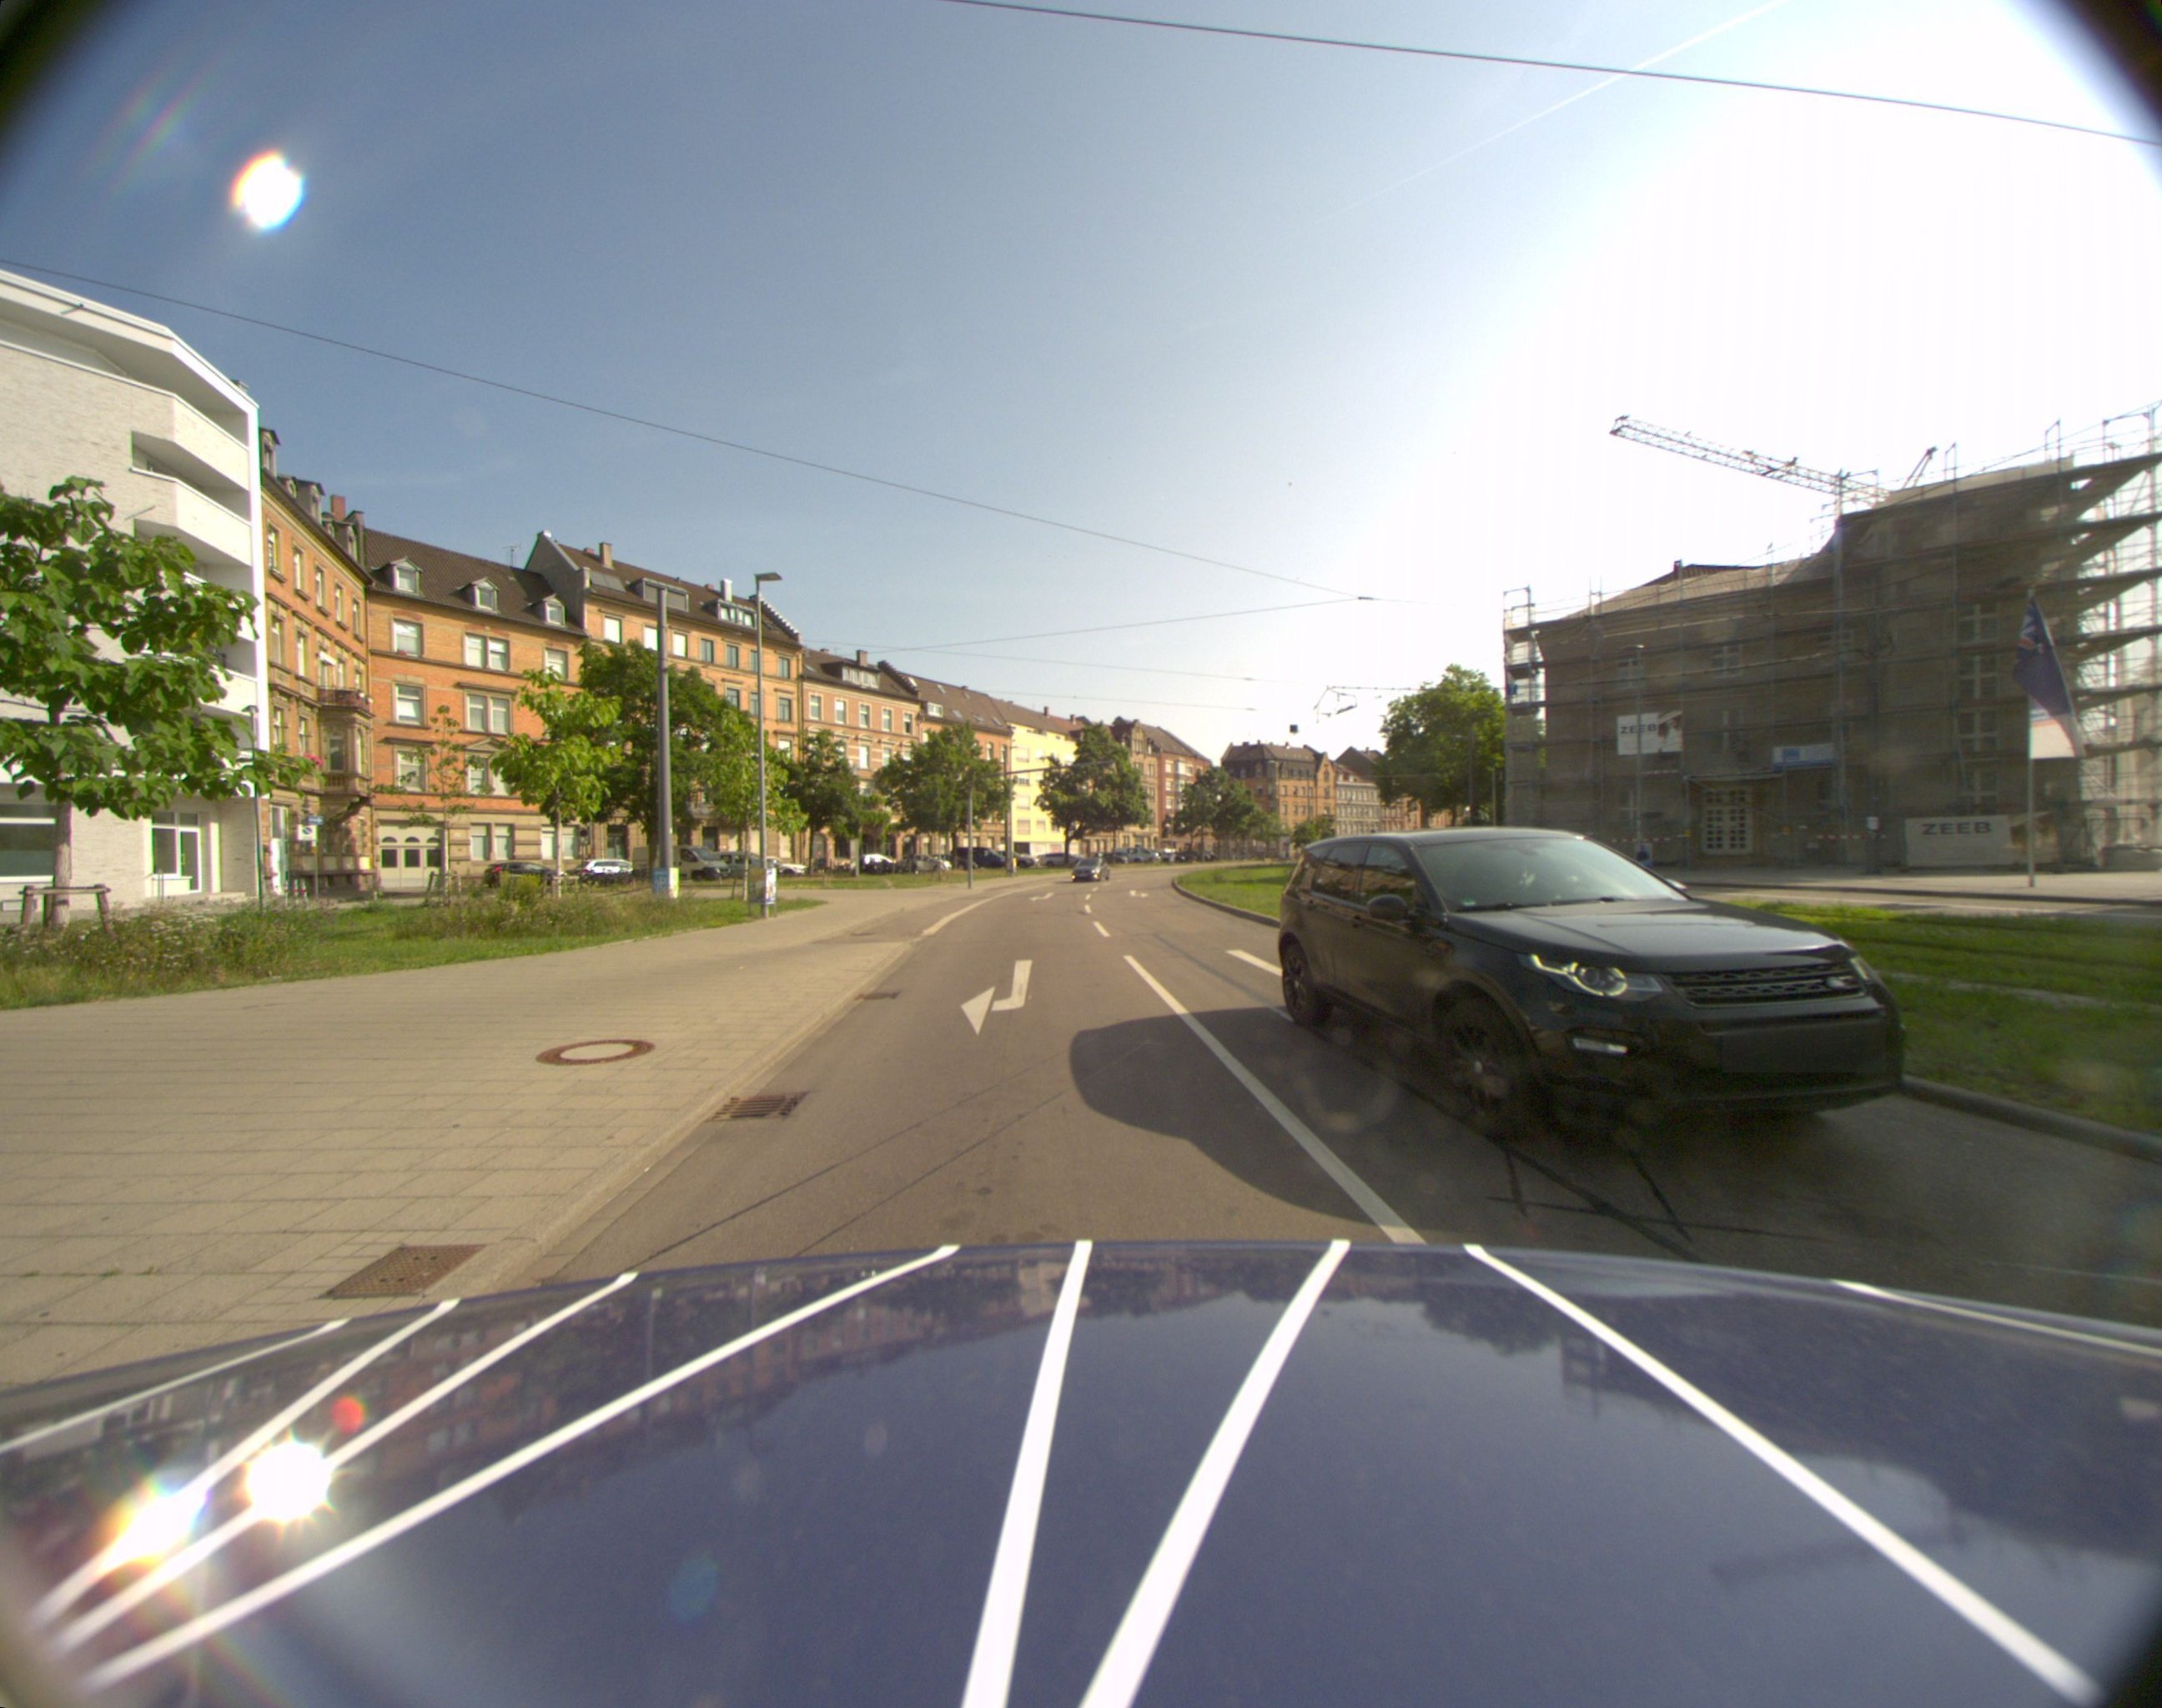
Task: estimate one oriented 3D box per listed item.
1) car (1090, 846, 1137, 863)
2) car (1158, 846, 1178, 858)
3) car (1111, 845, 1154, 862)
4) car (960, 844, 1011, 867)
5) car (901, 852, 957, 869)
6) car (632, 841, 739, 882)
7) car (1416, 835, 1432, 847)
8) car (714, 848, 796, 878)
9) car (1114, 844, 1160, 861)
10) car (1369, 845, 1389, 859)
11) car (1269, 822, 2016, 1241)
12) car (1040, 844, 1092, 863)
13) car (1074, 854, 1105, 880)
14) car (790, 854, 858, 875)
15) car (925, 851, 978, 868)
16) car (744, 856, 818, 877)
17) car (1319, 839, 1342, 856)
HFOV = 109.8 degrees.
[{"bbox_3d":[3.411,0.048,79.266,4.733,1.755,1.722,0,1,7],"label":"car"},{"bbox_3d":[12.232,-0.305,106.259,1.326,1.722,2.790,0,1,44],"label":"car"},{"bbox_3d":[5.526,-0.036,81.768,4.417,1.755,1.721,0,1,-1],"label":"car"},{"bbox_3d":[-7.800,0.121,62.420,3.852,1.795,1.786,-1,1,2],"label":"car"},{"bbox_3d":[-11.469,0.496,57.551,3.853,1.242,1.721,-1,0,-1],"label":"car"},{"bbox_3d":[-21.963,0.422,42.240,5.040,2.166,1.881,-1,1,6],"label":"car"},{"bbox_3d":[58.505,-2.183,129.550,1.995,1.967,4.007,-2,1,32],"label":"car"},{"bbox_3d":[-19.189,0.521,44.808,3.982,1.696,1.880,-1,0,-1],"label":"car"},{"bbox_3d":[6.200,-0.154,84.450,4.925,1.827,1.721,0,1,-5],"label":"car"},{"bbox_3d":[45.662,-0.305,116.274,1.994,2.002,4.008,0,1,34],"label":"car"},{"bbox_3d":[2.815,0.697,5.180,1.802,1.668,4.219,0,0,-3],"label":"car"},{"bbox_3d":[-1.441,-0.023,72.913,4.733,1.755,1.722,0,1,7],"label":"car"},{"bbox_3d":[0.573,0.746,46.058,1.643,1.411,3.896,-1,1,4],"label":"car"},{"bbox_3d":[-16.613,0.668,49.242,3.853,1.242,1.721,-1,0,-1],"label":"car"},{"bbox_3d":[-10.129,0.423,59.608,3.853,1.242,1.721,-1,0,-1],"label":"car"},{"bbox_3d":[-18.474,0.765,46.955,3.853,1.242,1.721,-1,0,-1],"label":"car"},{"bbox_3d":[33.257,-0.866,101.133,1.995,2.002,4.007,-2,1,32],"label":"car"}]
